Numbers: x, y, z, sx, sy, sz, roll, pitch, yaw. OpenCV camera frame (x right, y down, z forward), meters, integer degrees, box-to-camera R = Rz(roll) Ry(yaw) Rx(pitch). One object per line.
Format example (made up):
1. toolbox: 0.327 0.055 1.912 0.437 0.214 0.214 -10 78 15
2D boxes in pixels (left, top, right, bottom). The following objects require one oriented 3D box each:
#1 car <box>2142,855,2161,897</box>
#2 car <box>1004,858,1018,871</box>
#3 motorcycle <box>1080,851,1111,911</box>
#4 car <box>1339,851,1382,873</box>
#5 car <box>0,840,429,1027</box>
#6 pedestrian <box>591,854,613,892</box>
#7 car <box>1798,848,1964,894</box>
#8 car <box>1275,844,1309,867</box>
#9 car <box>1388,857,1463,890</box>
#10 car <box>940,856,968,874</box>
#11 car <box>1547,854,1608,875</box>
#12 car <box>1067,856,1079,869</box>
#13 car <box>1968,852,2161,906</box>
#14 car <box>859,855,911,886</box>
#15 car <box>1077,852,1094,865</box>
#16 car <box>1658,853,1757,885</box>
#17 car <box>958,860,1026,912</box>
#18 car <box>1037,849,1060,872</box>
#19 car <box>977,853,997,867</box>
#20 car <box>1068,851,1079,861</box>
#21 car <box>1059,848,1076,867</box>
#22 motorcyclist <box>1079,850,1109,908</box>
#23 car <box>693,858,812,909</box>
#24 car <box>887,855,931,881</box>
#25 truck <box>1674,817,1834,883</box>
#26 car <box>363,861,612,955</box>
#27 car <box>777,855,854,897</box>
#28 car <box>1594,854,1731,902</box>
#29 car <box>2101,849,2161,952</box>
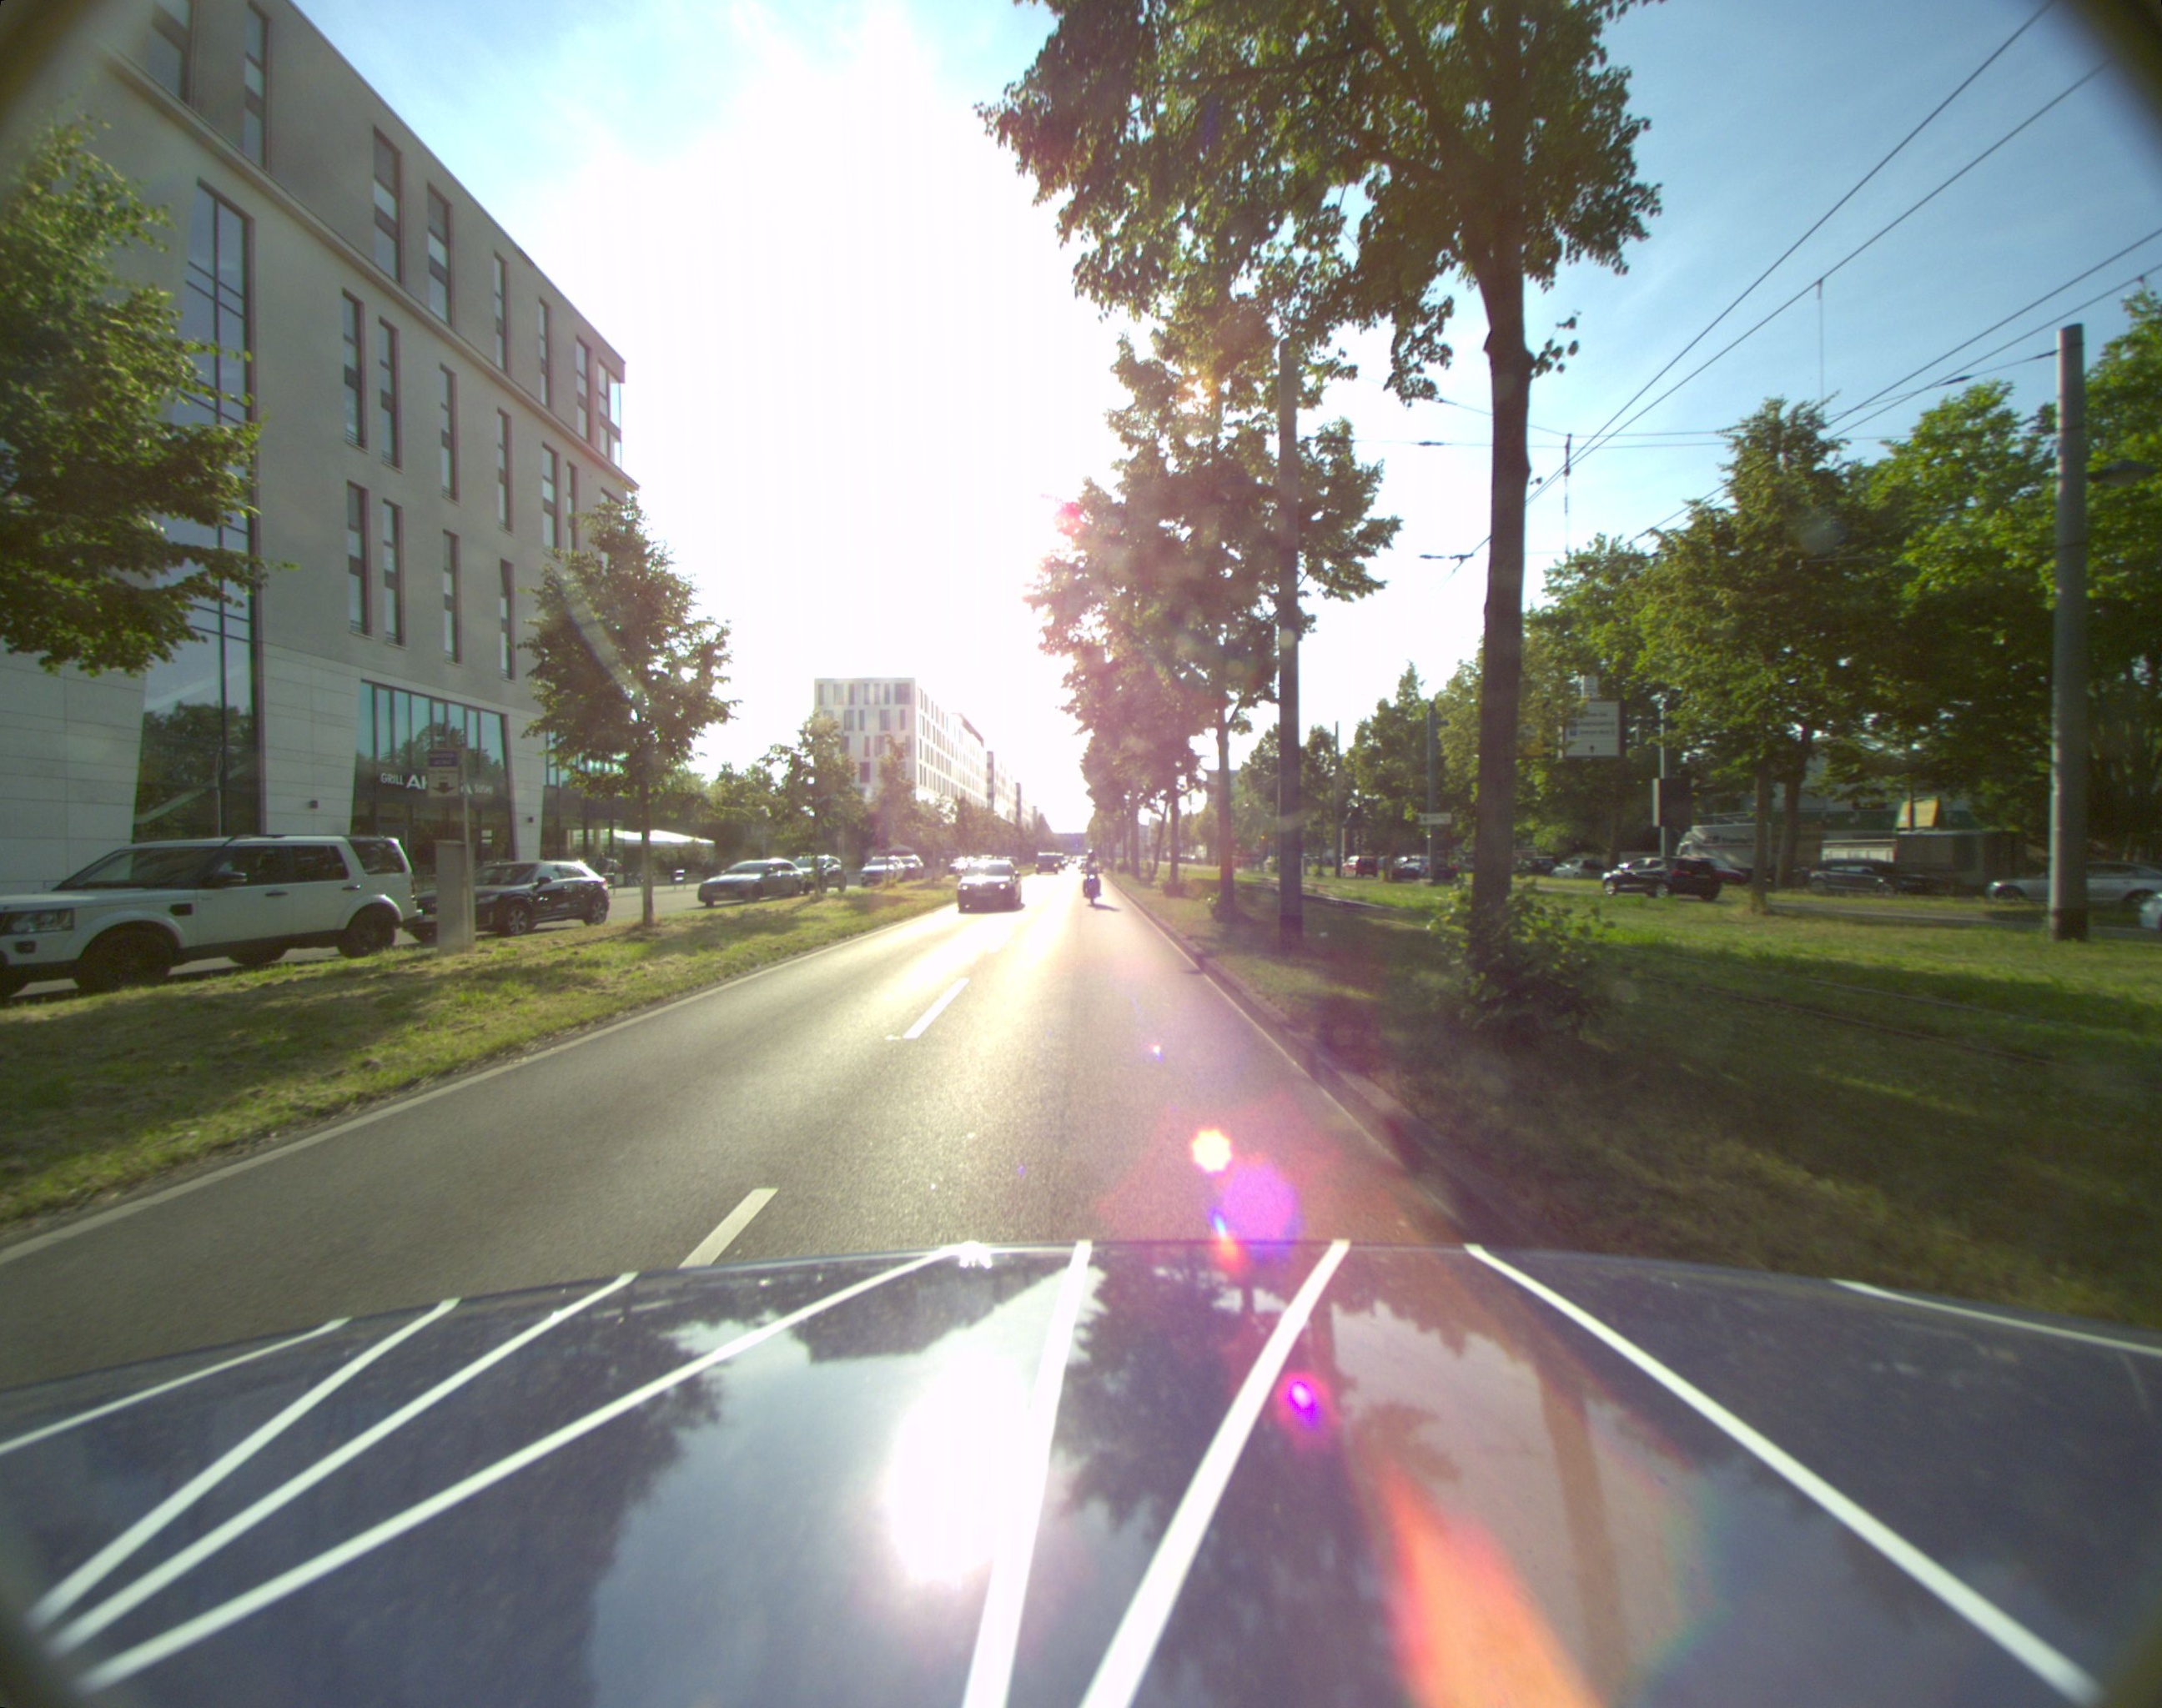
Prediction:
1. car: 36.707 0.752 23.538 1.701 1.367 4.386 -2 1 4
2. car: -10.880 1.653 117.762 1.740 1.777 3.893 -2 1 0
3. motorcycle: 0.413 0.774 23.153 0.798 1.659 2.633 -2 1 -1
4. car: 20.336 0.549 55.434 1.686 1.515 3.929 -1 1 0
5. car: -11.656 0.798 9.984 1.899 1.863 4.843 -2 1 0
6. pedestrian: -20.765 0.823 32.940 0.499 1.591 0.572 -2 1 0
7. car: 28.016 0.546 26.819 1.675 1.423 3.959 -2 1 0
8. car: 18.147 0.105 65.572 1.686 1.854 4.218 -2 1 0
9. car: 17.408 0.943 38.603 1.686 1.427 4.670 -2 1 0
10. car: -11.863 0.972 71.459 1.840 1.521 4.327 -2 1 0
11. car: 29.841 0.594 45.794 1.301 1.101 3.772 -2 1 3
12. car: -1.214 1.335 121.484 1.740 1.777 3.893 -2 1 1
13. car: 28.017 0.627 20.863 1.680 1.236 4.900 -2 1 1
14. car: -11.233 0.906 43.884 1.840 1.521 4.327 -2 1 0
15. car: 0.540 0.512 92.085 1.756 1.427 4.034 -2 1 -3
16. car: 28.768 0.636 35.043 1.586 1.269 3.961 -2 1 7
17. car: -2.816 0.986 24.805 1.699 1.416 4.038 -2 1 -1
18. car: -2.924 0.524 68.780 1.803 1.881 4.820 -2 1 0
19. car: -11.101 0.705 90.114 1.840 1.521 4.327 -2 1 0
20. car: -1.366 0.364 141.604 1.740 1.777 3.893 -2 1 1
21. car: -1.564 0.388 88.975 1.909 2.002 3.999 -2 1 0
22. motorcyclist: 0.384 0.756 23.199 0.814 1.700 0.843 -2 1 -1
23. car: -11.420 0.961 26.867 1.764 1.479 4.919 -2 1 3
24. car: -11.175 0.882 49.698 1.840 1.521 4.327 -2 1 0
25. truck: 39.598 -0.283 45.174 2.895 3.496 7.946 -2 1 5
26. car: -11.656 0.968 15.371 1.765 1.479 4.209 -2 1 -2
27. car: -11.385 0.899 32.884 1.764 1.588 4.327 -2 1 0
28. car: 20.115 0.761 26.533 1.686 1.427 4.035 -2 1 0
29. car: 17.130 0.708 10.096 1.614 1.523 4.132 -2 1 0
